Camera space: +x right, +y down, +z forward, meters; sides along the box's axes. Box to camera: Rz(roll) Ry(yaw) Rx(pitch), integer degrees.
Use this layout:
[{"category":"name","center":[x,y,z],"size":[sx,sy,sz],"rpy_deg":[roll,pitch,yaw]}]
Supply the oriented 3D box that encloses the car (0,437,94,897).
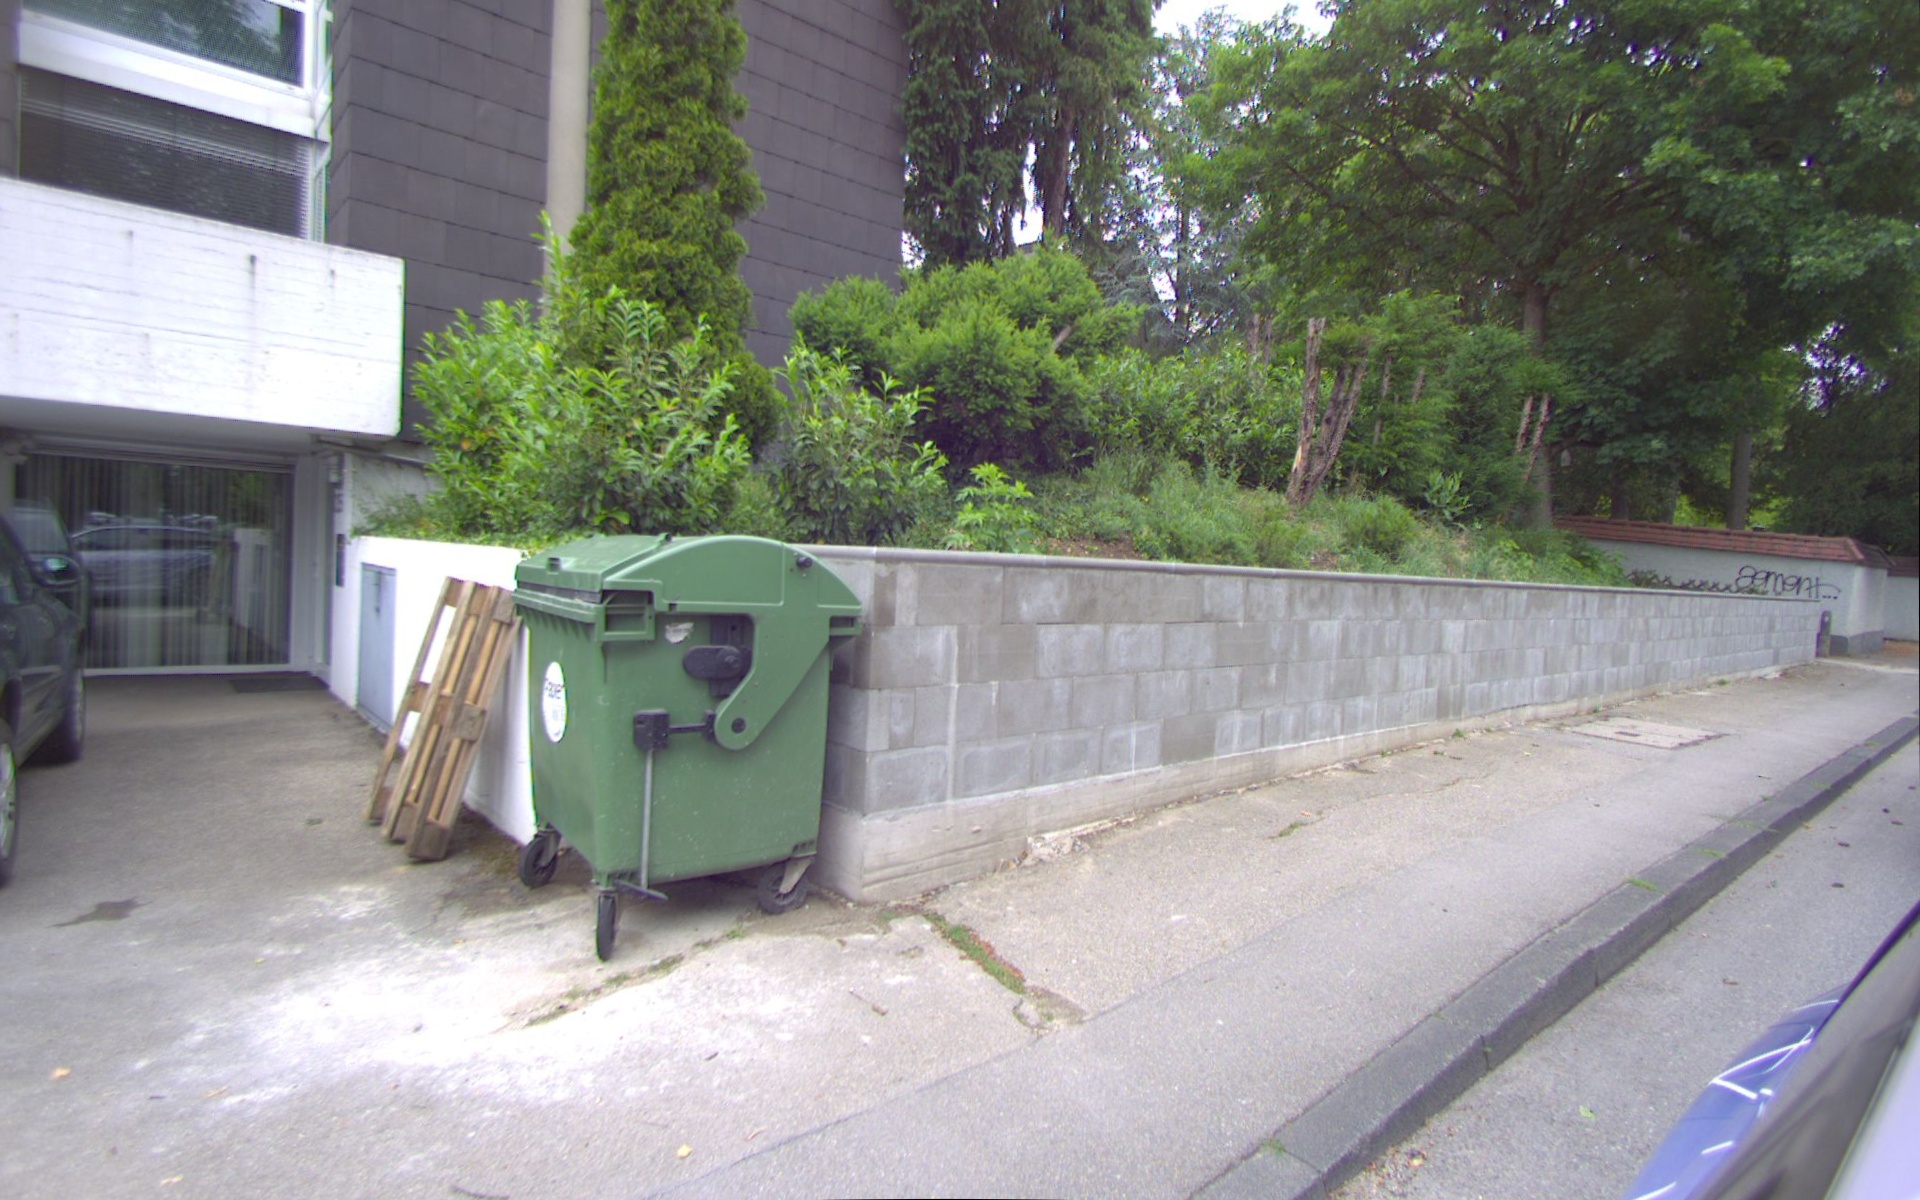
[{"category":"car","center":[-5.047,0.152,4.353],"size":[1.712,1.671,3.914],"rpy_deg":[0,4,-36]}]

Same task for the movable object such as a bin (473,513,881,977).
[{"category":"movable object such as a bin","center":[-1.182,0.419,4.079],"size":[1.096,1.469,1.407],"rpy_deg":[0,3,-40]}]
